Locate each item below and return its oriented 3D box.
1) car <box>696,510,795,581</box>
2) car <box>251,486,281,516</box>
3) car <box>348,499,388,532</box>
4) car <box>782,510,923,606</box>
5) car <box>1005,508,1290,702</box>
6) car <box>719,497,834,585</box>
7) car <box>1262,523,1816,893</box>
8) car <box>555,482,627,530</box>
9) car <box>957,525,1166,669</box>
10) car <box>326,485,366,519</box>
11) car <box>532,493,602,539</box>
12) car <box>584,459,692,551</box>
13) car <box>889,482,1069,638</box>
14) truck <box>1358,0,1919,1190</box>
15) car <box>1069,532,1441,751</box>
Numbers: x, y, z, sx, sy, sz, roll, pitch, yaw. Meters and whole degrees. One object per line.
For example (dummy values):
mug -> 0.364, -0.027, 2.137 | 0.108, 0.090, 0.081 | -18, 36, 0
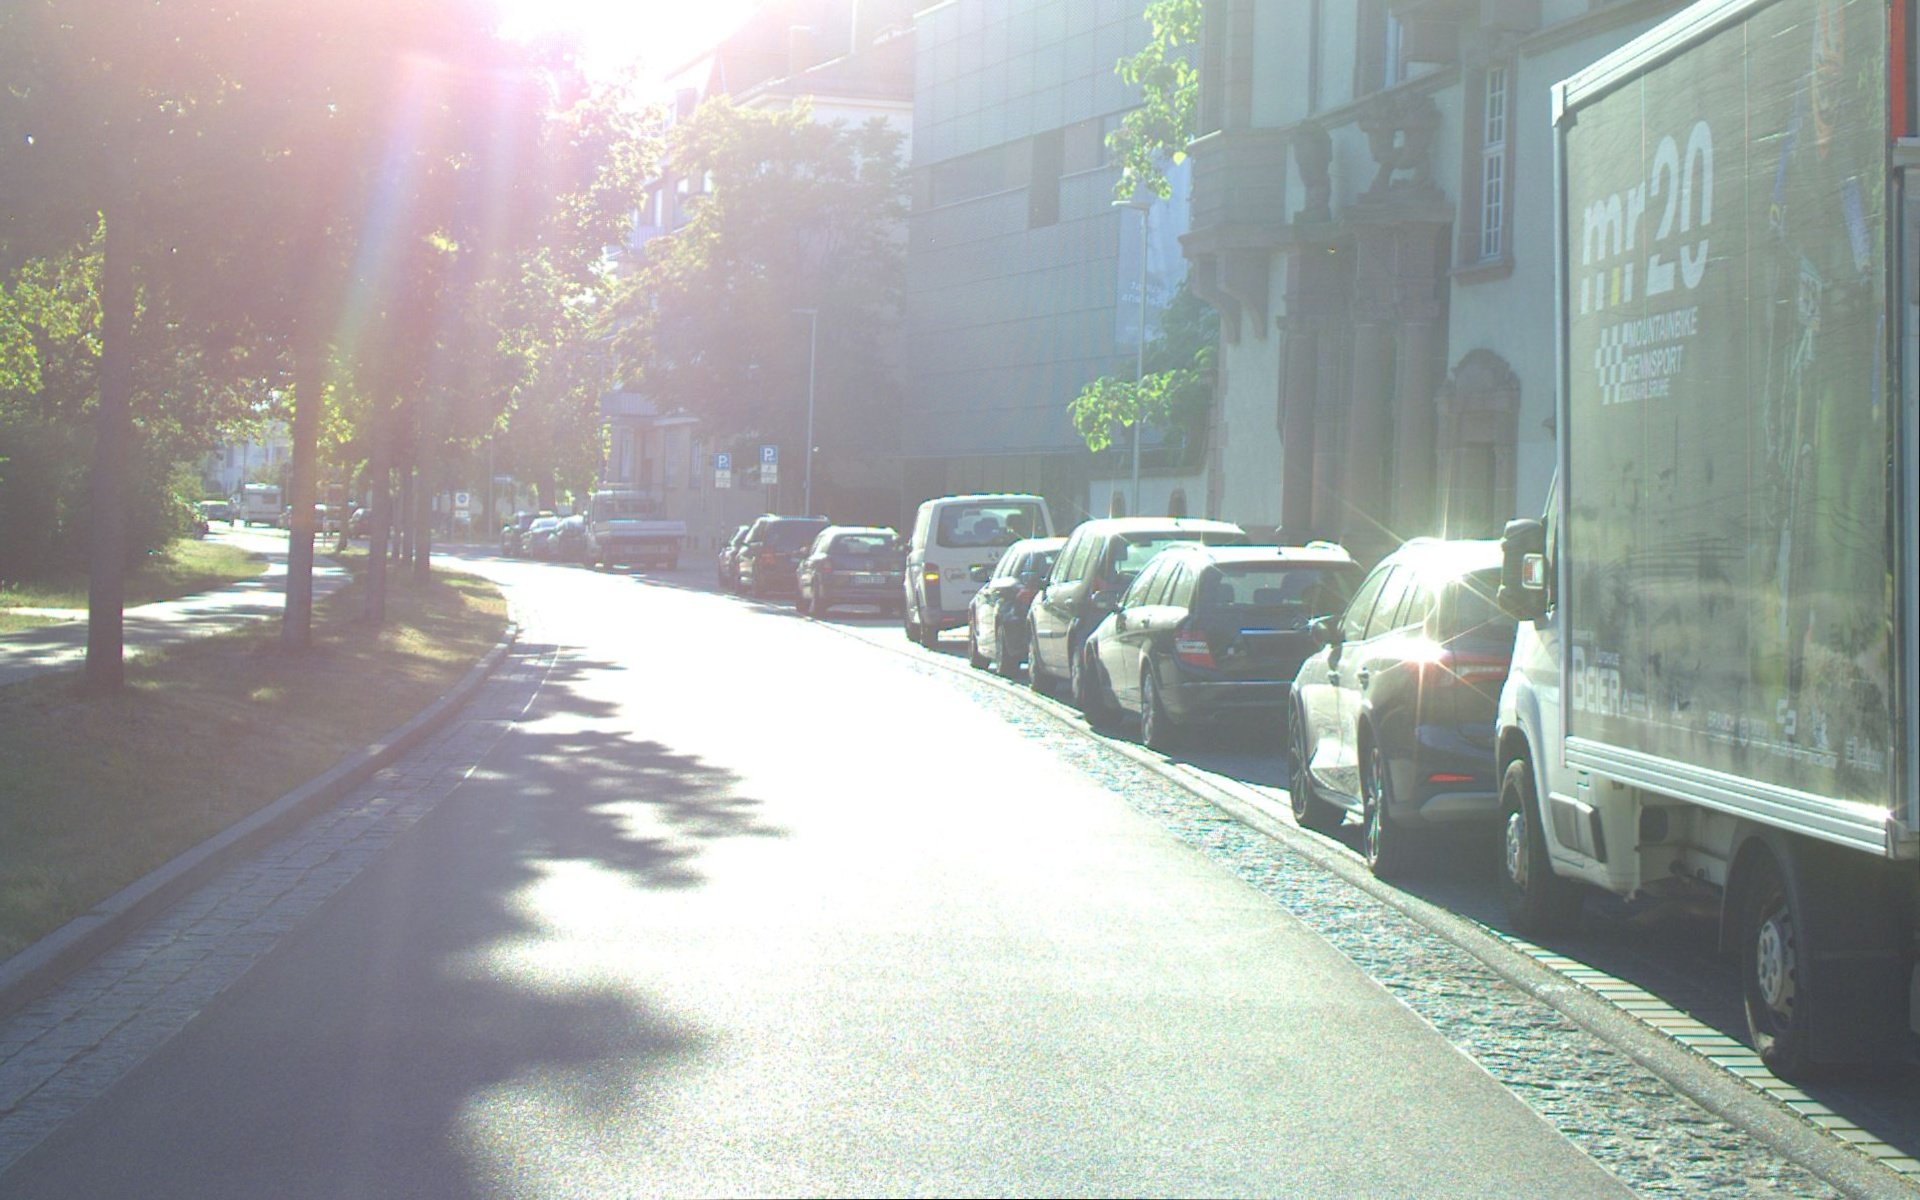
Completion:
car -> -4.642, -1.196, 73.974 | 1.724, 1.416, 3.907 | 1, 2, -9
car -> -47.218, -6.752, 233.941 | 1.793, 1.992, 4.002 | 2, 1, -13
car -> -29.297, -4.195, 170.080 | 1.793, 1.504, 4.001 | 2, 1, -11
car -> -1.875, -0.748, 58.548 | 1.747, 1.461, 4.479 | 3, 1, -9
car -> 1.602, -0.010, 30.865 | 1.815, 1.596, 4.194 | 1, 1, -7
car -> -3.693, -1.203, 68.691 | 1.724, 1.663, 4.115 | 1, 2, -11
car -> 2.615, 0.402, 16.621 | 1.768, 1.525, 4.573 | 0, 1, -2
car -> -11.629, -2.954, 108.126 | 1.690, 1.435, 3.552 | 1, 2, -15
car -> 1.010, -0.076, 36.226 | 1.678, 1.398, 4.201 | 0, 1, -5
car -> -32.801, -5.236, 183.615 | 1.793, 1.718, 4.002 | 2, 1, -13
car -> -12.922, -2.759, 112.861 | 1.690, 1.435, 4.105 | 1, 2, -15
car -> -9.149, -2.697, 97.204 | 2.210, 2.521, 6.150 | 0, 2, -13
car -> 0.198, -0.572, 46.647 | 1.993, 1.959, 4.850 | -1, 1, -5
truck -> 3.132, -0.284, 10.923 | 2.623, 3.110, 6.088 | 0, 1, -4
car -> 2.062, 0.242, 25.392 | 1.871, 1.431, 4.524 | 0, 1, -6
